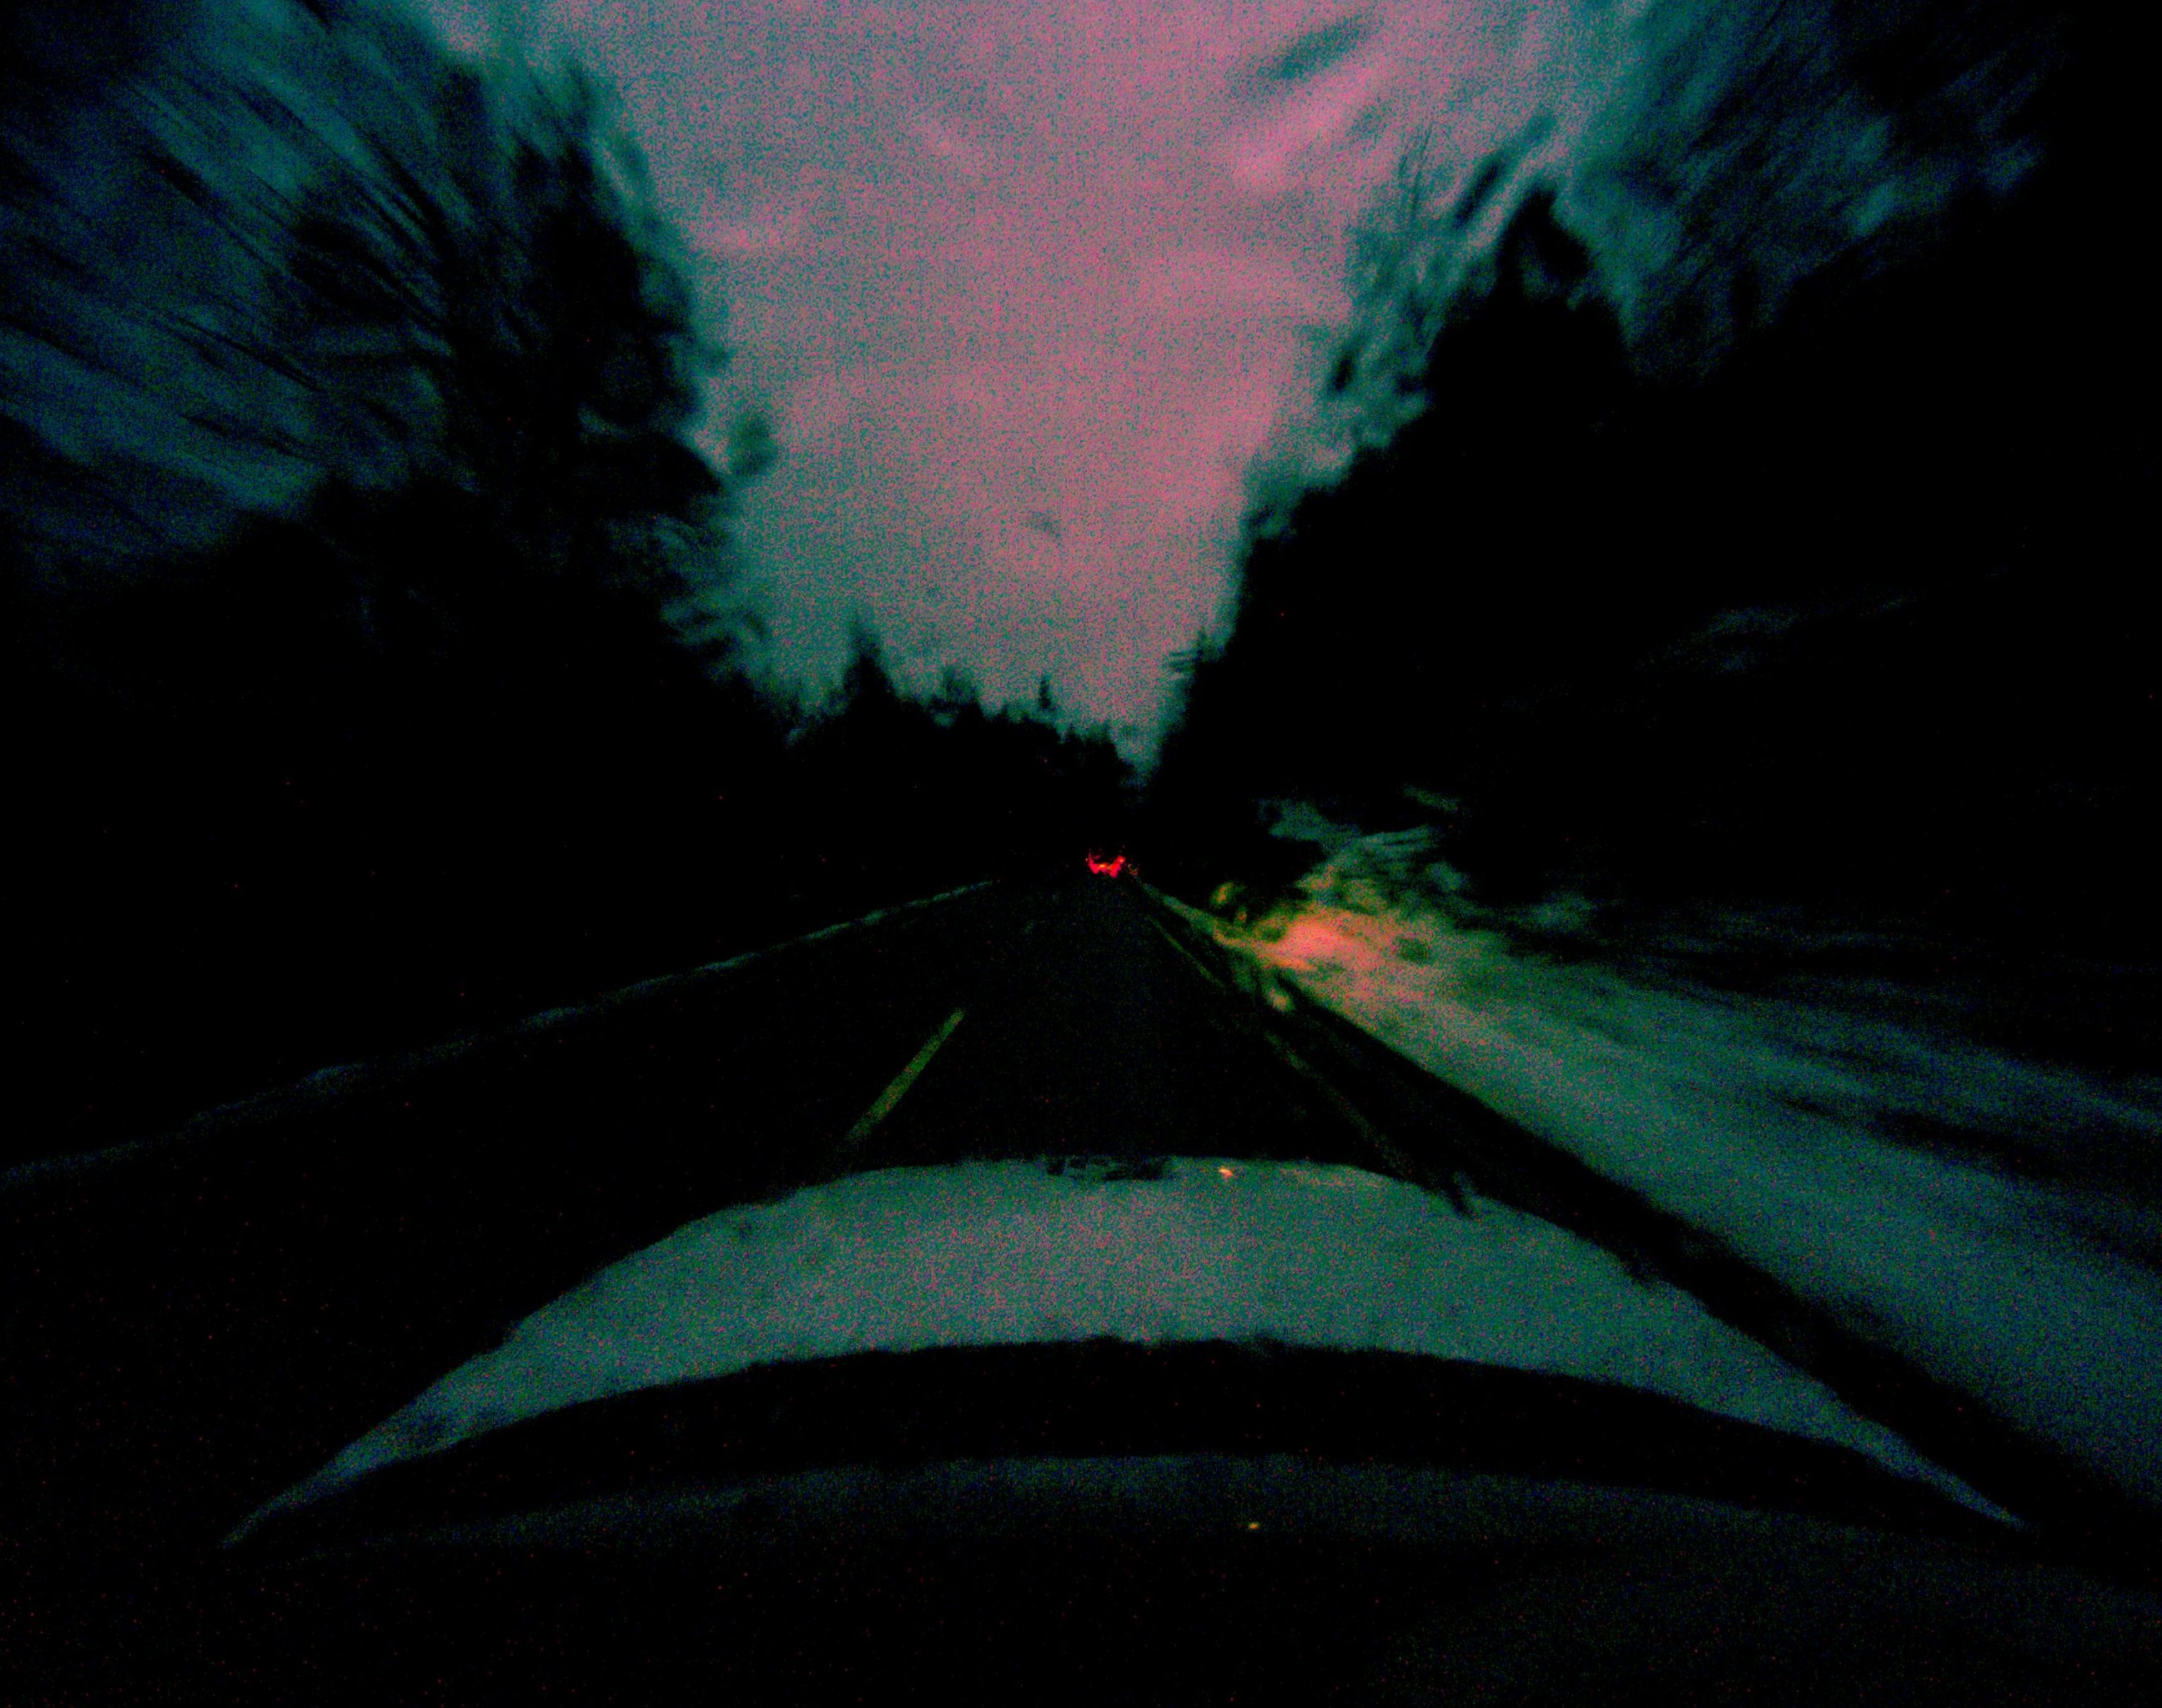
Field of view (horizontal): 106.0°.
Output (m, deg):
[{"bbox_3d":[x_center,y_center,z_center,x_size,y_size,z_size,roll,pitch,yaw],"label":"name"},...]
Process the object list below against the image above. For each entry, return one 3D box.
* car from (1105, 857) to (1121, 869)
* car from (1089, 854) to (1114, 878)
[{"bbox_3d":[4.072,1.148,103.260,1.986,1.310,4.002,-3,0,2],"label":"car"},{"bbox_3d":[1.787,1.003,70.480,1.986,1.872,4.002,-3,0,2],"label":"car"}]
